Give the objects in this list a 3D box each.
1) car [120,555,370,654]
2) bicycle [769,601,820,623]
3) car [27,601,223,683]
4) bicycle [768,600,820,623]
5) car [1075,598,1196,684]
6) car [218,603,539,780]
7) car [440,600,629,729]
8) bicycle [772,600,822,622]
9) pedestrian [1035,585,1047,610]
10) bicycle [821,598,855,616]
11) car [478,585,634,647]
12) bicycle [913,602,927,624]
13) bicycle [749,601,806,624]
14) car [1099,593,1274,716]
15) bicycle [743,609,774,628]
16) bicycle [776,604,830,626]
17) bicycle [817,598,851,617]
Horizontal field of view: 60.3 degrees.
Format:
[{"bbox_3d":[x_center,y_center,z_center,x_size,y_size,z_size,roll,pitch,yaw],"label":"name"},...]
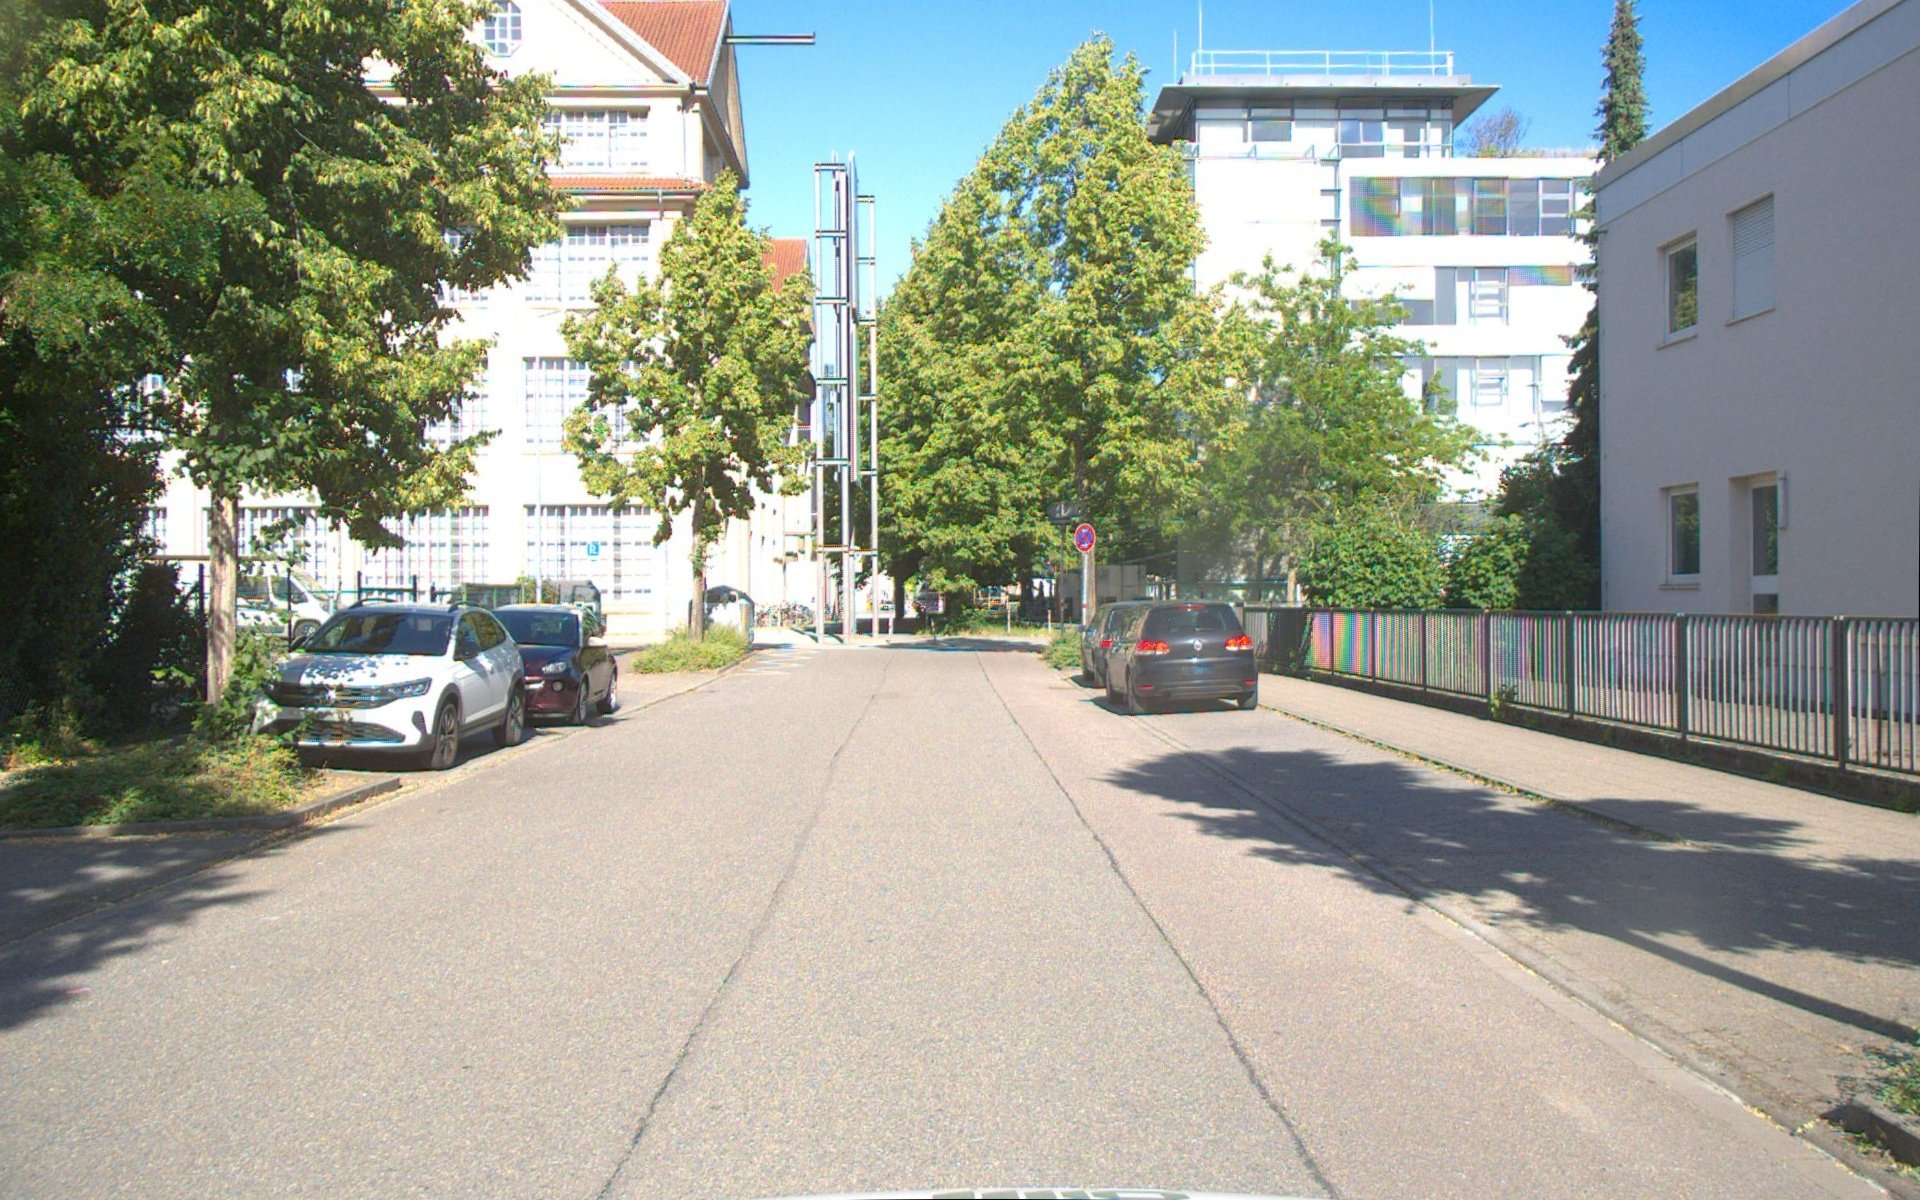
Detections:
[{"bbox_3d":[-20.350,0.123,47.284,6.136,2.642,2.164,-1,0,-2],"label":"car"},{"bbox_3d":[-8.876,0.623,88.845,2.678,1.171,0.718,0,0,-6],"label":"bicycle"},{"bbox_3d":[-18.202,0.862,36.309,1.952,1.638,4.427,-1,0,2],"label":"car"},{"bbox_3d":[-8.771,0.604,87.525,2.746,1.171,0.718,-1,0,-6],"label":"bicycle"},{"bbox_3d":[3.095,0.711,29.938,1.711,1.447,4.423,0,-1,0],"label":"car"},{"bbox_3d":[-5.571,0.803,16.407,1.803,1.500,4.001,1,0,-1],"label":"car"},{"bbox_3d":[-5.449,0.779,21.601,1.683,1.500,3.544,1,0,-3],"label":"car"},{"bbox_3d":[-8.805,0.581,89.636,2.678,1.171,0.718,0,0,-6],"label":"bicycle"},{"bbox_3d":[4.991,-0.162,102.207,0.701,1.577,0.690,0,0,5],"label":"pedestrian"},{"bbox_3d":[-7.454,0.441,100.929,2.015,1.085,0.507,0,0,1],"label":"bicycle"},{"bbox_3d":[-11.670,0.450,47.987,4.005,1.725,2.000,0,-1,0],"label":"car"},{"bbox_3d":[-2.309,0.730,94.728,0.607,1.218,2.129,0,0,-6],"label":"bicycle"},{"bbox_3d":[-8.870,0.601,80.487,2.746,1.081,0.718,0,0,-6],"label":"bicycle"},{"bbox_3d":[3.079,0.690,23.242,1.748,1.542,3.998,-1,0,-2],"label":"car"},{"bbox_3d":[-9.462,0.856,77.676,0.761,0.806,2.886,0,0,7],"label":"bicycle"},{"bbox_3d":[-8.074,0.767,85.078,2.746,1.081,0.718,0,0,-6],"label":"bicycle"},{"bbox_3d":[-7.613,0.460,100.119,2.015,1.085,0.507,0,0,1],"label":"bicycle"}]
